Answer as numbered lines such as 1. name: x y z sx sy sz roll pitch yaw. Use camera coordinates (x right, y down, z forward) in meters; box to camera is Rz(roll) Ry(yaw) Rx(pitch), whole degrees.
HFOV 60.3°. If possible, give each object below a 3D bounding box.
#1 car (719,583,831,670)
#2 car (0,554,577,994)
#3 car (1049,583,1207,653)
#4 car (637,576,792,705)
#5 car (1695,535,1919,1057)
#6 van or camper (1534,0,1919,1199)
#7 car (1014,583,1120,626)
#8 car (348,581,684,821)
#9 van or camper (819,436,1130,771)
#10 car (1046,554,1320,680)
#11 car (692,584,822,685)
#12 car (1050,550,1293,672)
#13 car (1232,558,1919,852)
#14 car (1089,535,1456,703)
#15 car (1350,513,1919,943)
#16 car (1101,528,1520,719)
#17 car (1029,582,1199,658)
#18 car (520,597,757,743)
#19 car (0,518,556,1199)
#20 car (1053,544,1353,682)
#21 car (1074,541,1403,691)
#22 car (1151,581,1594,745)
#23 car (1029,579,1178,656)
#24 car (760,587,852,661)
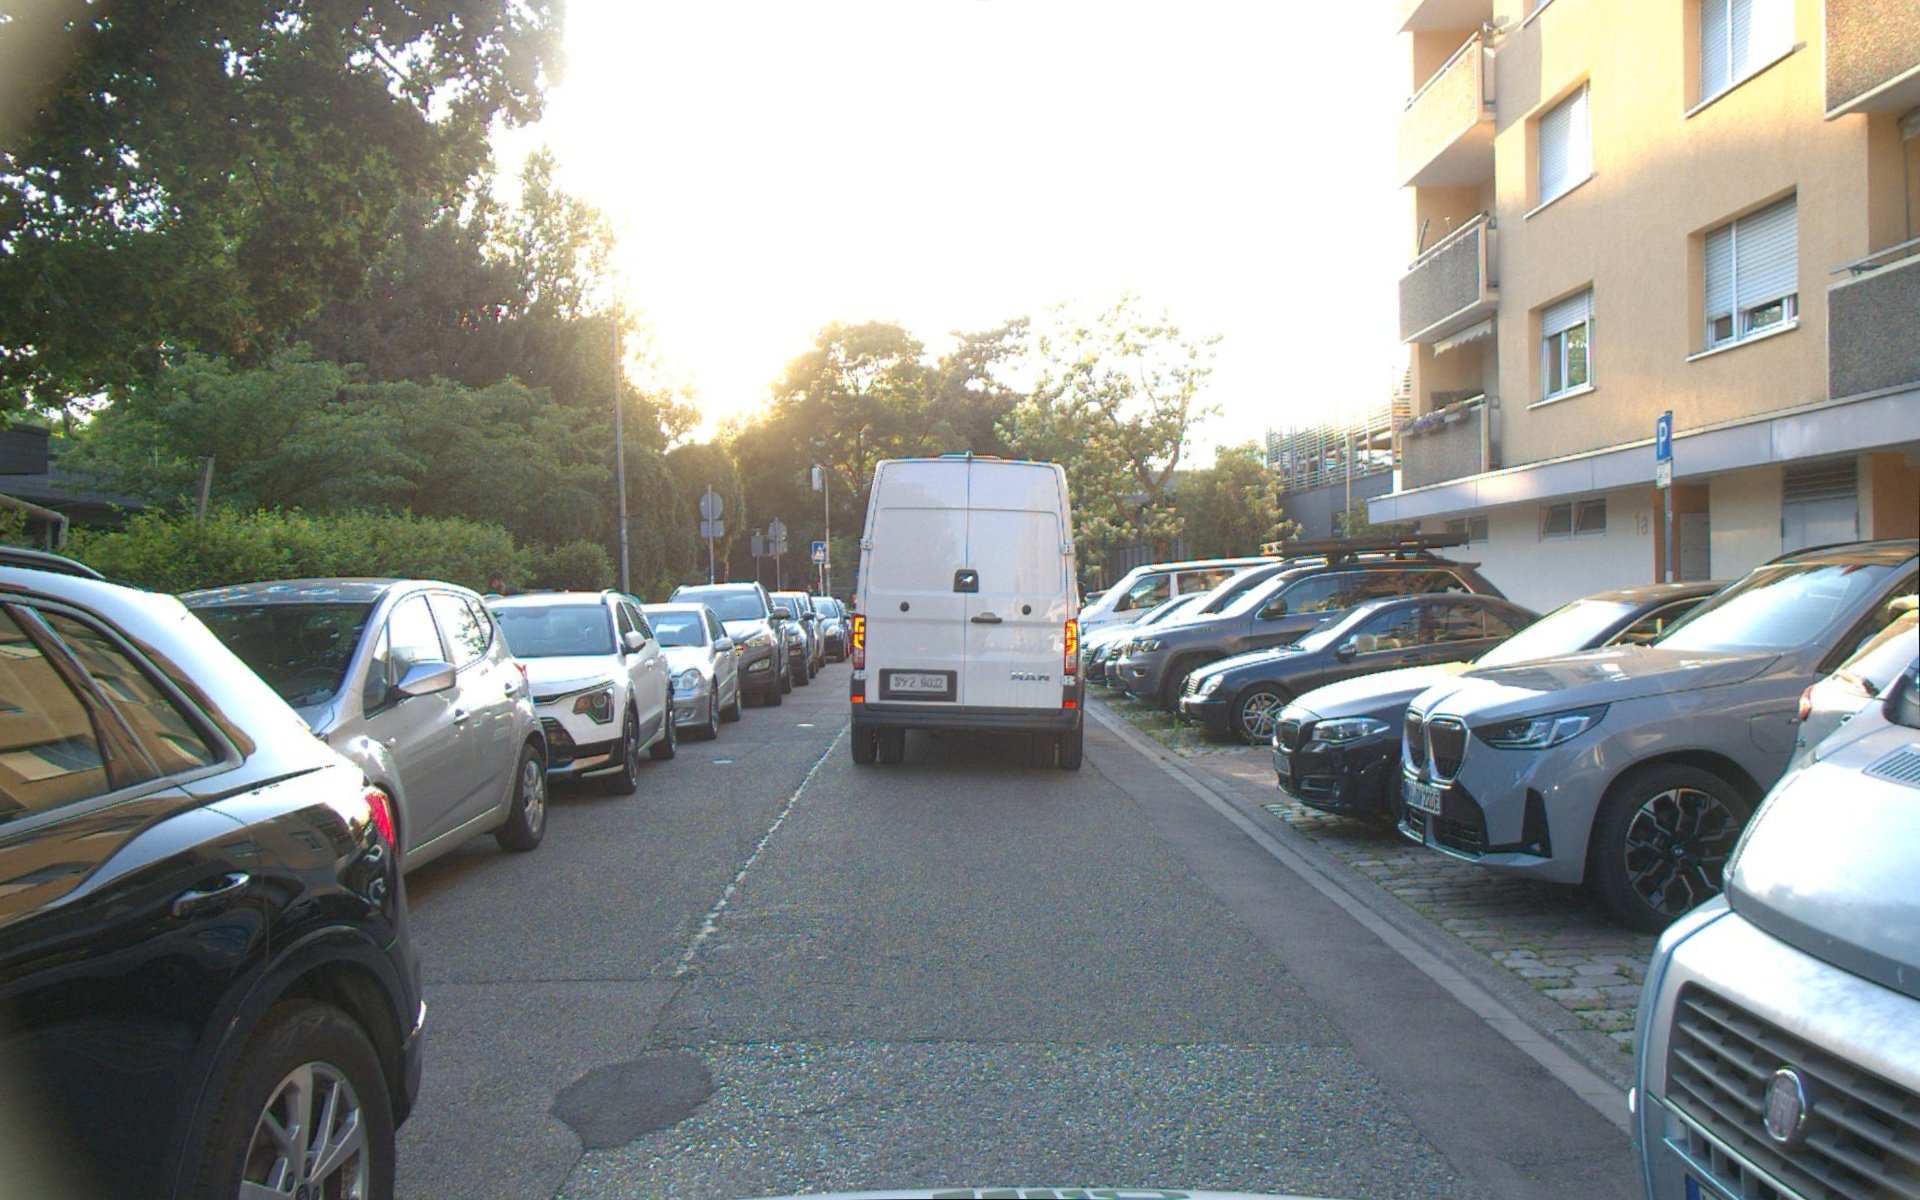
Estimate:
1. car: -3.655 0.489 33.301 1.953 1.646 3.998 0 0 -3
2. car: -3.384 0.685 8.495 1.746 1.659 4.001 -3 0 1
3. car: 4.301 0.456 42.813 3.905 1.758 2.000 0 0 -1
4. car: -3.431 0.521 23.785 1.955 1.691 3.996 0 0 -5
5. car: 5.086 0.534 5.717 4.350 1.623 1.770 -2 0 -7
6. van or camper: 4.212 0.025 2.735 5.809 2.818 2.109 0 0 -2
7. car: 4.183 0.166 65.087 3.909 1.646 1.998 0 0 -5
8. car: -3.413 0.682 13.524 1.819 1.582 4.097 -2 0 -4
9. van or camper: 0.214 0.003 16.064 2.403 2.591 6.085 1 0 2
10. car: 3.930 0.283 29.715 4.611 2.183 1.999 0 0 -3
11. car: -3.480 0.546 28.992 1.953 1.646 3.998 0 0 -3
12. car: 4.016 0.204 31.901 4.405 2.269 2.031 0 0 -2
13. car: 3.932 0.597 10.683 3.910 1.479 1.833 -4 1 -5
14. car: 4.180 0.242 22.613 4.611 2.183 1.999 0 0 -3
15. car: 4.338 0.487 8.128 4.350 1.758 1.770 -2 0 -7
16. car: 4.112 0.261 19.942 4.611 2.183 1.999 0 0 -3
17. car: 3.644 0.466 39.763 3.905 1.758 2.000 0 0 -1
18. car: -3.448 0.692 18.486 1.953 1.422 3.999 0 0 -1
19. car: -2.130 0.717 1.846 1.766 1.596 4.568 -1 0 6
20. car: 3.931 0.203 27.268 4.611 2.183 1.999 0 0 -3
21. car: 4.128 0.223 25.040 4.611 2.183 1.999 0 0 -3
22. car: 4.206 0.618 17.289 4.151 1.450 1.719 -2 0 -2
23. car: 3.866 0.469 45.126 3.905 2.049 2.000 0 0 1
24. car: -3.578 0.516 39.022 1.953 1.646 3.998 0 0 -3
